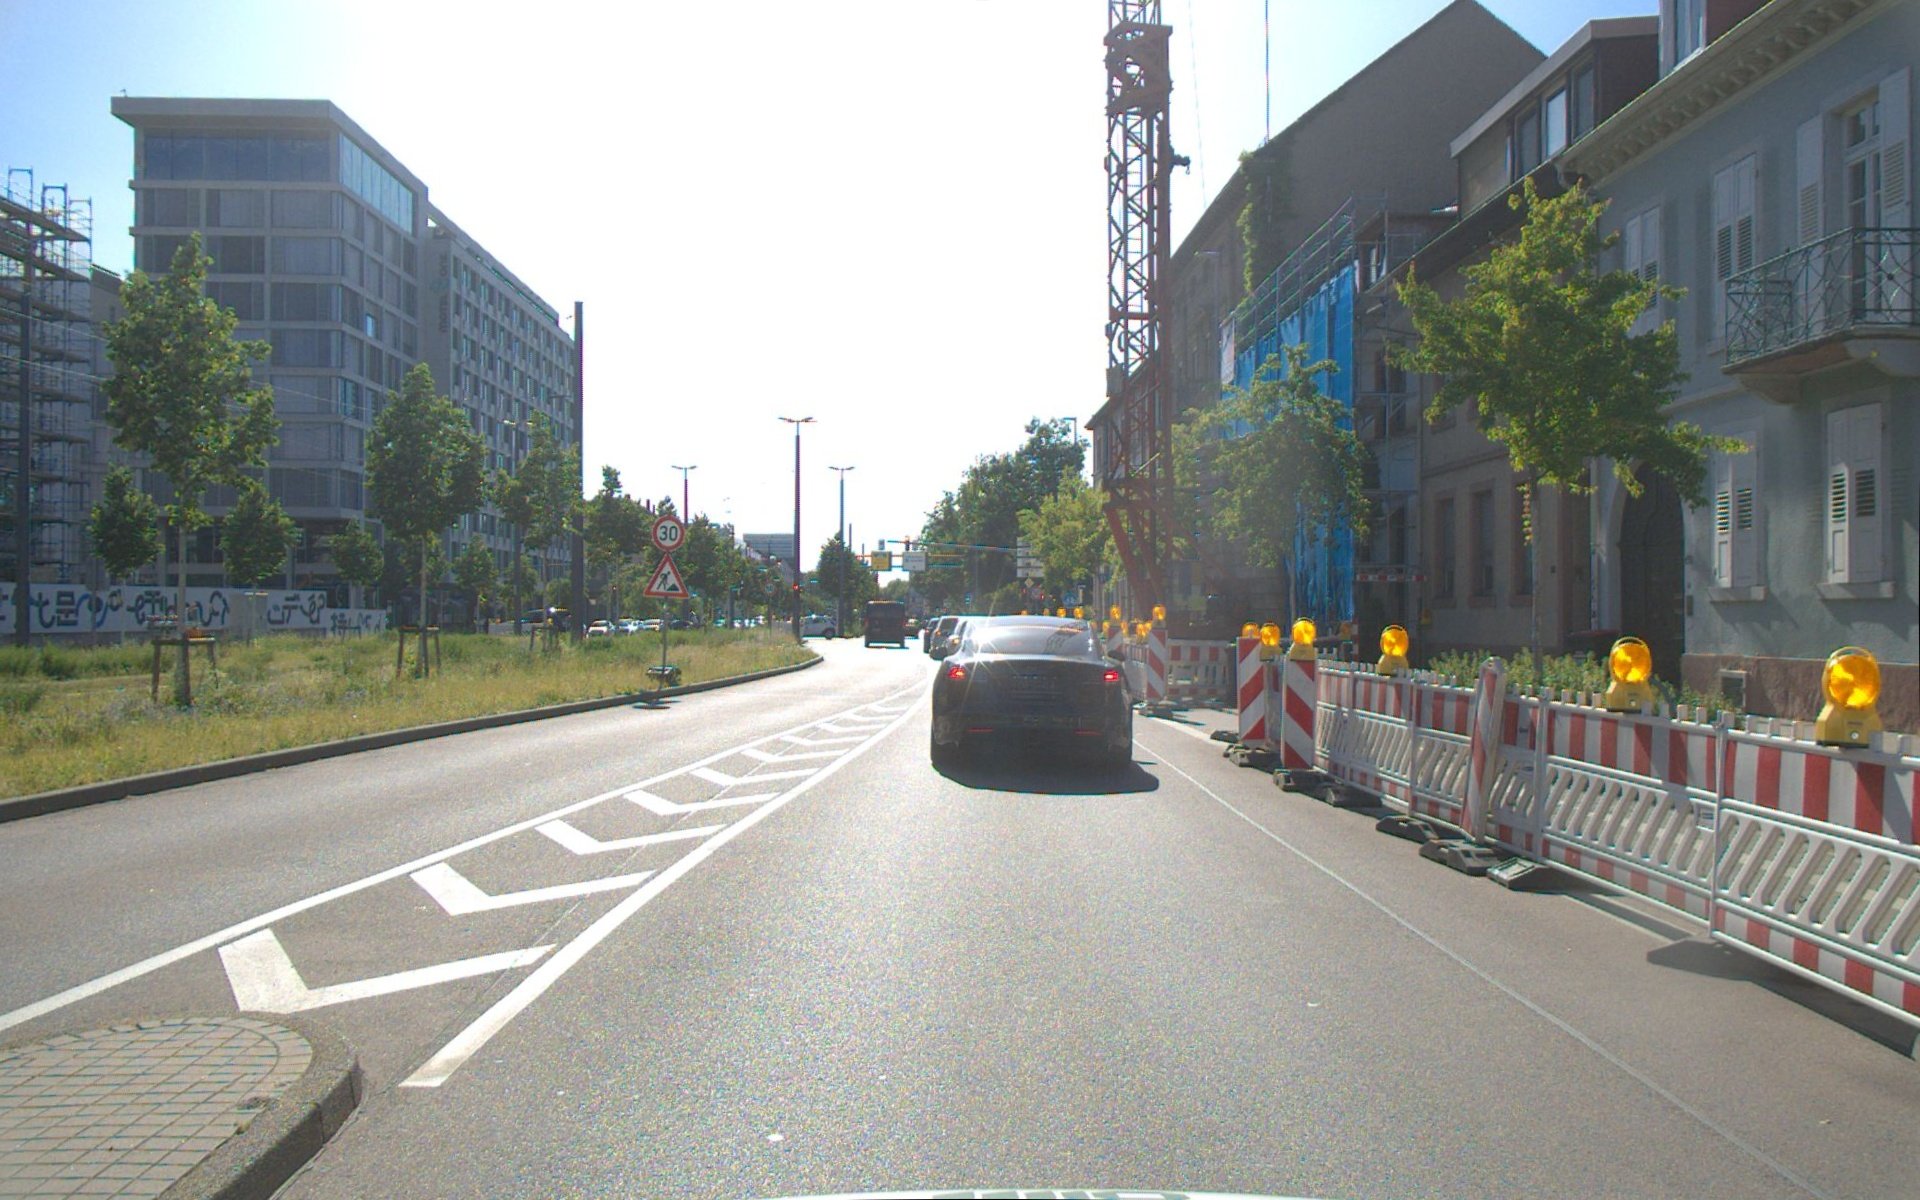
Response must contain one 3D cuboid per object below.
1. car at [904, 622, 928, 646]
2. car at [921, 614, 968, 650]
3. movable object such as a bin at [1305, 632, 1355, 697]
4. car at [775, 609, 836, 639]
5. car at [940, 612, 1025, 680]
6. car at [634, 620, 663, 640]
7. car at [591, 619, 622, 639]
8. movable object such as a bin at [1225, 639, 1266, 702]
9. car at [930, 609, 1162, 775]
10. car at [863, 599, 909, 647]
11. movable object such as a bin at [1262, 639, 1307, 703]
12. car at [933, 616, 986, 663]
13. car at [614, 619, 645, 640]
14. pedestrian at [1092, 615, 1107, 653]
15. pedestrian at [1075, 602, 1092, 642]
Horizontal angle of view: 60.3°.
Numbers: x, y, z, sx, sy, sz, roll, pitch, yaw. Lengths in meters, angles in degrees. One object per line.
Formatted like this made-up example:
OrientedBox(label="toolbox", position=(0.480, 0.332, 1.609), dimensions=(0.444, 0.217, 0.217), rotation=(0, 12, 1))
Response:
OrientedBox(label="car", position=(-3.489, 2.695, 131.481), dimensions=(1.756, 1.906, 3.847), rotation=(1, -1, -3))
OrientedBox(label="car", position=(-0.677, 1.340, 69.447), dimensions=(1.756, 1.453, 3.847), rotation=(1, -1, -3))
OrientedBox(label="movable object such as a bin", position=(6.581, 1.143, 29.442), dimensions=(0.576, 1.076, 0.782), rotation=(-4, 0, -6))
OrientedBox(label="car", position=(-10.063, 1.549, 107.598), dimensions=(3.898, 1.952, 1.912), rotation=(0, -1, -8))
OrientedBox(label="car", position=(0.460, 1.023, 38.345), dimensions=(1.712, 1.452, 4.836), rotation=(1, 0, -2))
OrientedBox(label="car", position=(-26.720, 2.538, 141.870), dimensions=(1.754, 1.680, 3.999), rotation=(0, -1, -1))
OrientedBox(label="car", position=(-29.002, 2.368, 135.721), dimensions=(1.754, 1.680, 3.999), rotation=(0, -1, -1))
OrientedBox(label="movable object such as a bin", position=(5.050, 1.243, 29.254), dimensions=(0.576, 1.076, 0.730), rotation=(1, 0, -1))
OrientedBox(label="car", position=(0.744, 0.852, 17.302), dimensions=(2.010, 1.469, 4.522), rotation=(1, 0, -2))
OrientedBox(label="car", position=(-3.715, 1.128, 82.397), dimensions=(2.174, 2.307, 4.481), rotation=(1, 0, -3))
OrientedBox(label="movable object such as a bin", position=(5.782, 1.255, 29.502), dimensions=(0.583, 1.076, 0.730), rotation=(-4, 0, -1))
OrientedBox(label="car", position=(-0.053, 1.342, 57.254), dimensions=(1.714, 1.554, 4.003), rotation=(1, -1, -1))
OrientedBox(label="car", position=(-26.620, 2.355, 133.361), dimensions=(1.754, 1.680, 3.999), rotation=(0, -1, -1))
OrientedBox(label="pedestrian", position=(6.866, 1.681, 81.550), dimensions=(0.551, 1.852, 0.587), rotation=(-3, -1, -2))
OrientedBox(label="pedestrian", position=(6.086, 1.075, 81.441), dimensions=(0.645, 1.946, 0.587), rotation=(-3, -1, -3))
